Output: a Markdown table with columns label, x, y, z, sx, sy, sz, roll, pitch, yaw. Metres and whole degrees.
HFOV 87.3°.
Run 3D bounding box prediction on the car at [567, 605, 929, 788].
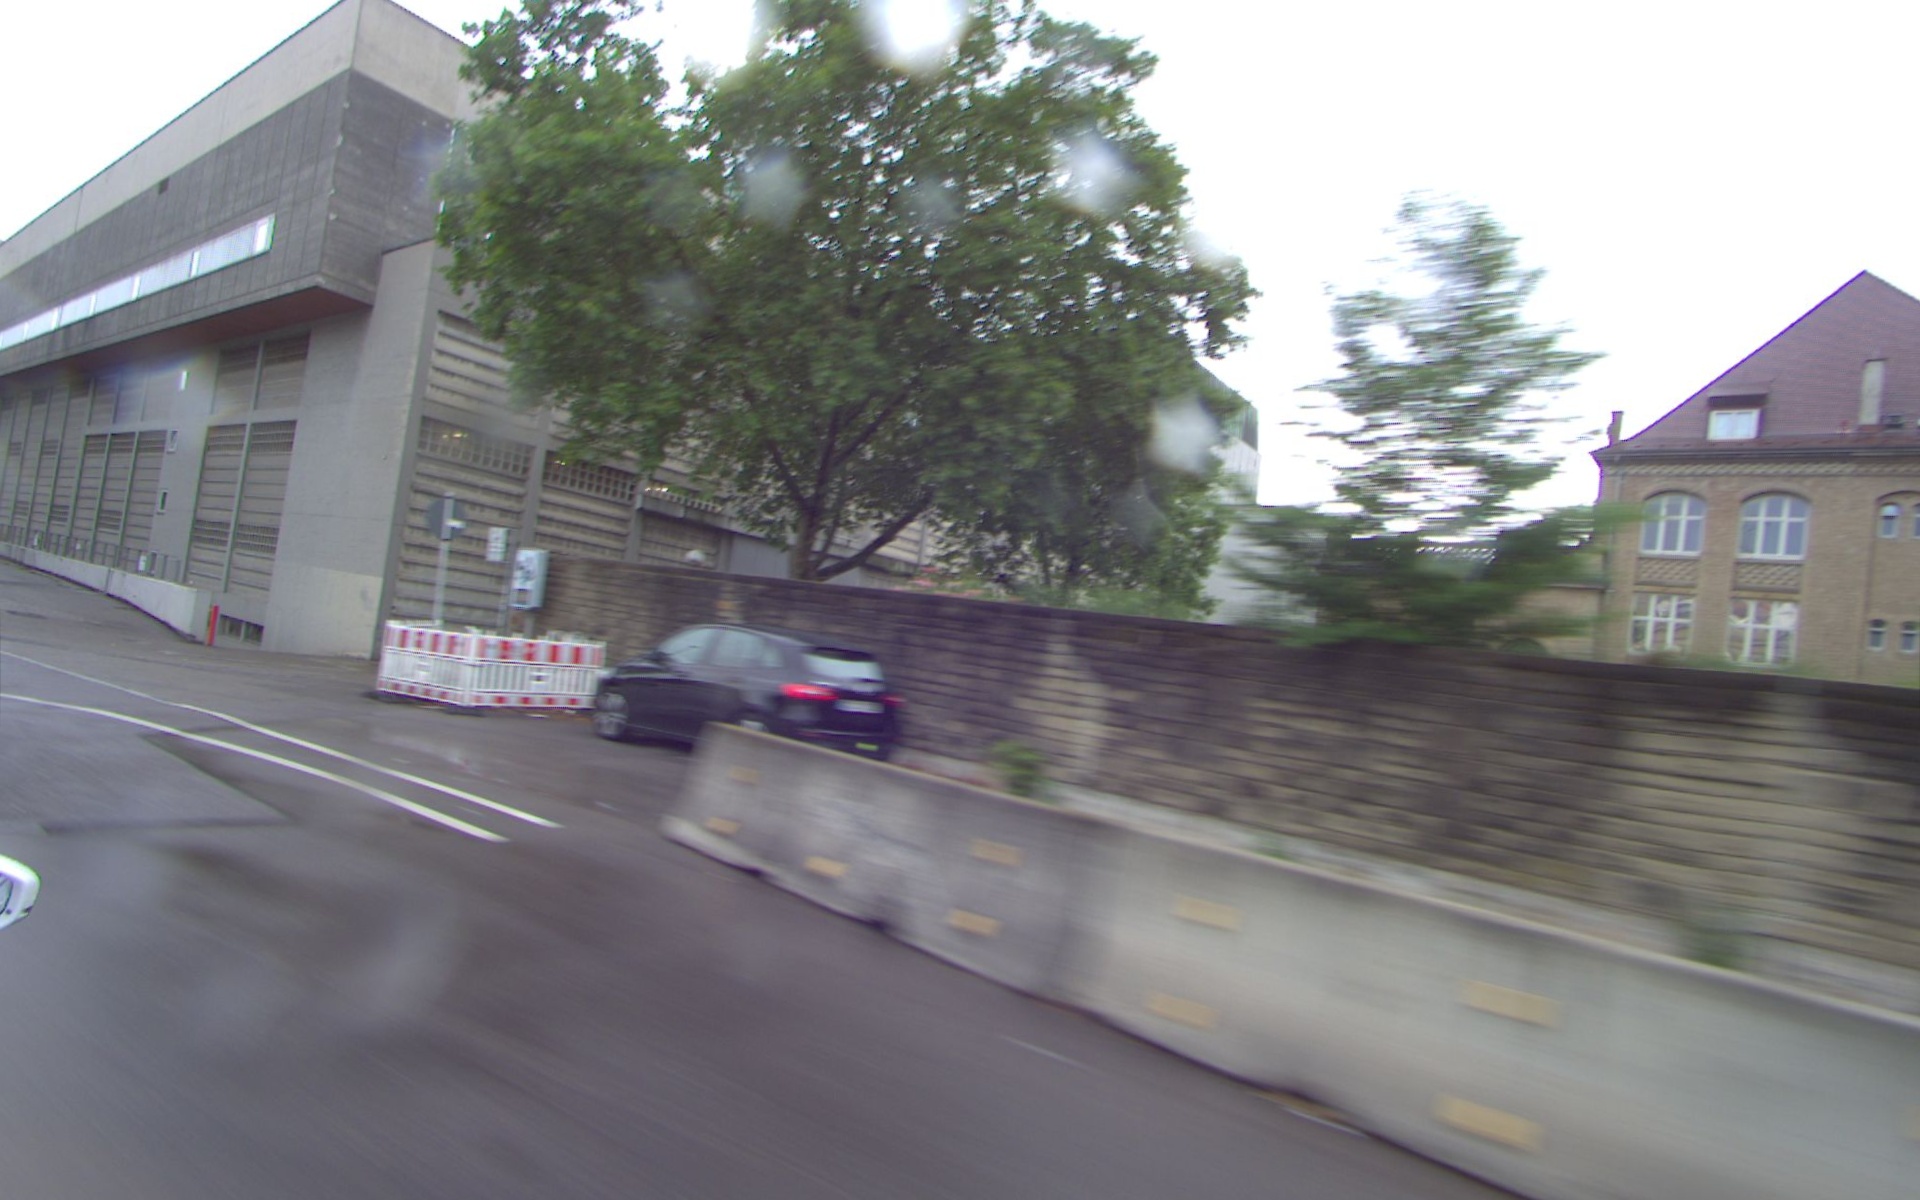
| label | x | y | z | sx | sy | sz | roll | pitch | yaw |
| --- | --- | --- | --- | --- | --- | --- | --- | --- | --- |
| car | -2.601 | 1.049 | 11.772 | 4.266 | 1.569 | 1.804 | 3 | -4 | 41 |
